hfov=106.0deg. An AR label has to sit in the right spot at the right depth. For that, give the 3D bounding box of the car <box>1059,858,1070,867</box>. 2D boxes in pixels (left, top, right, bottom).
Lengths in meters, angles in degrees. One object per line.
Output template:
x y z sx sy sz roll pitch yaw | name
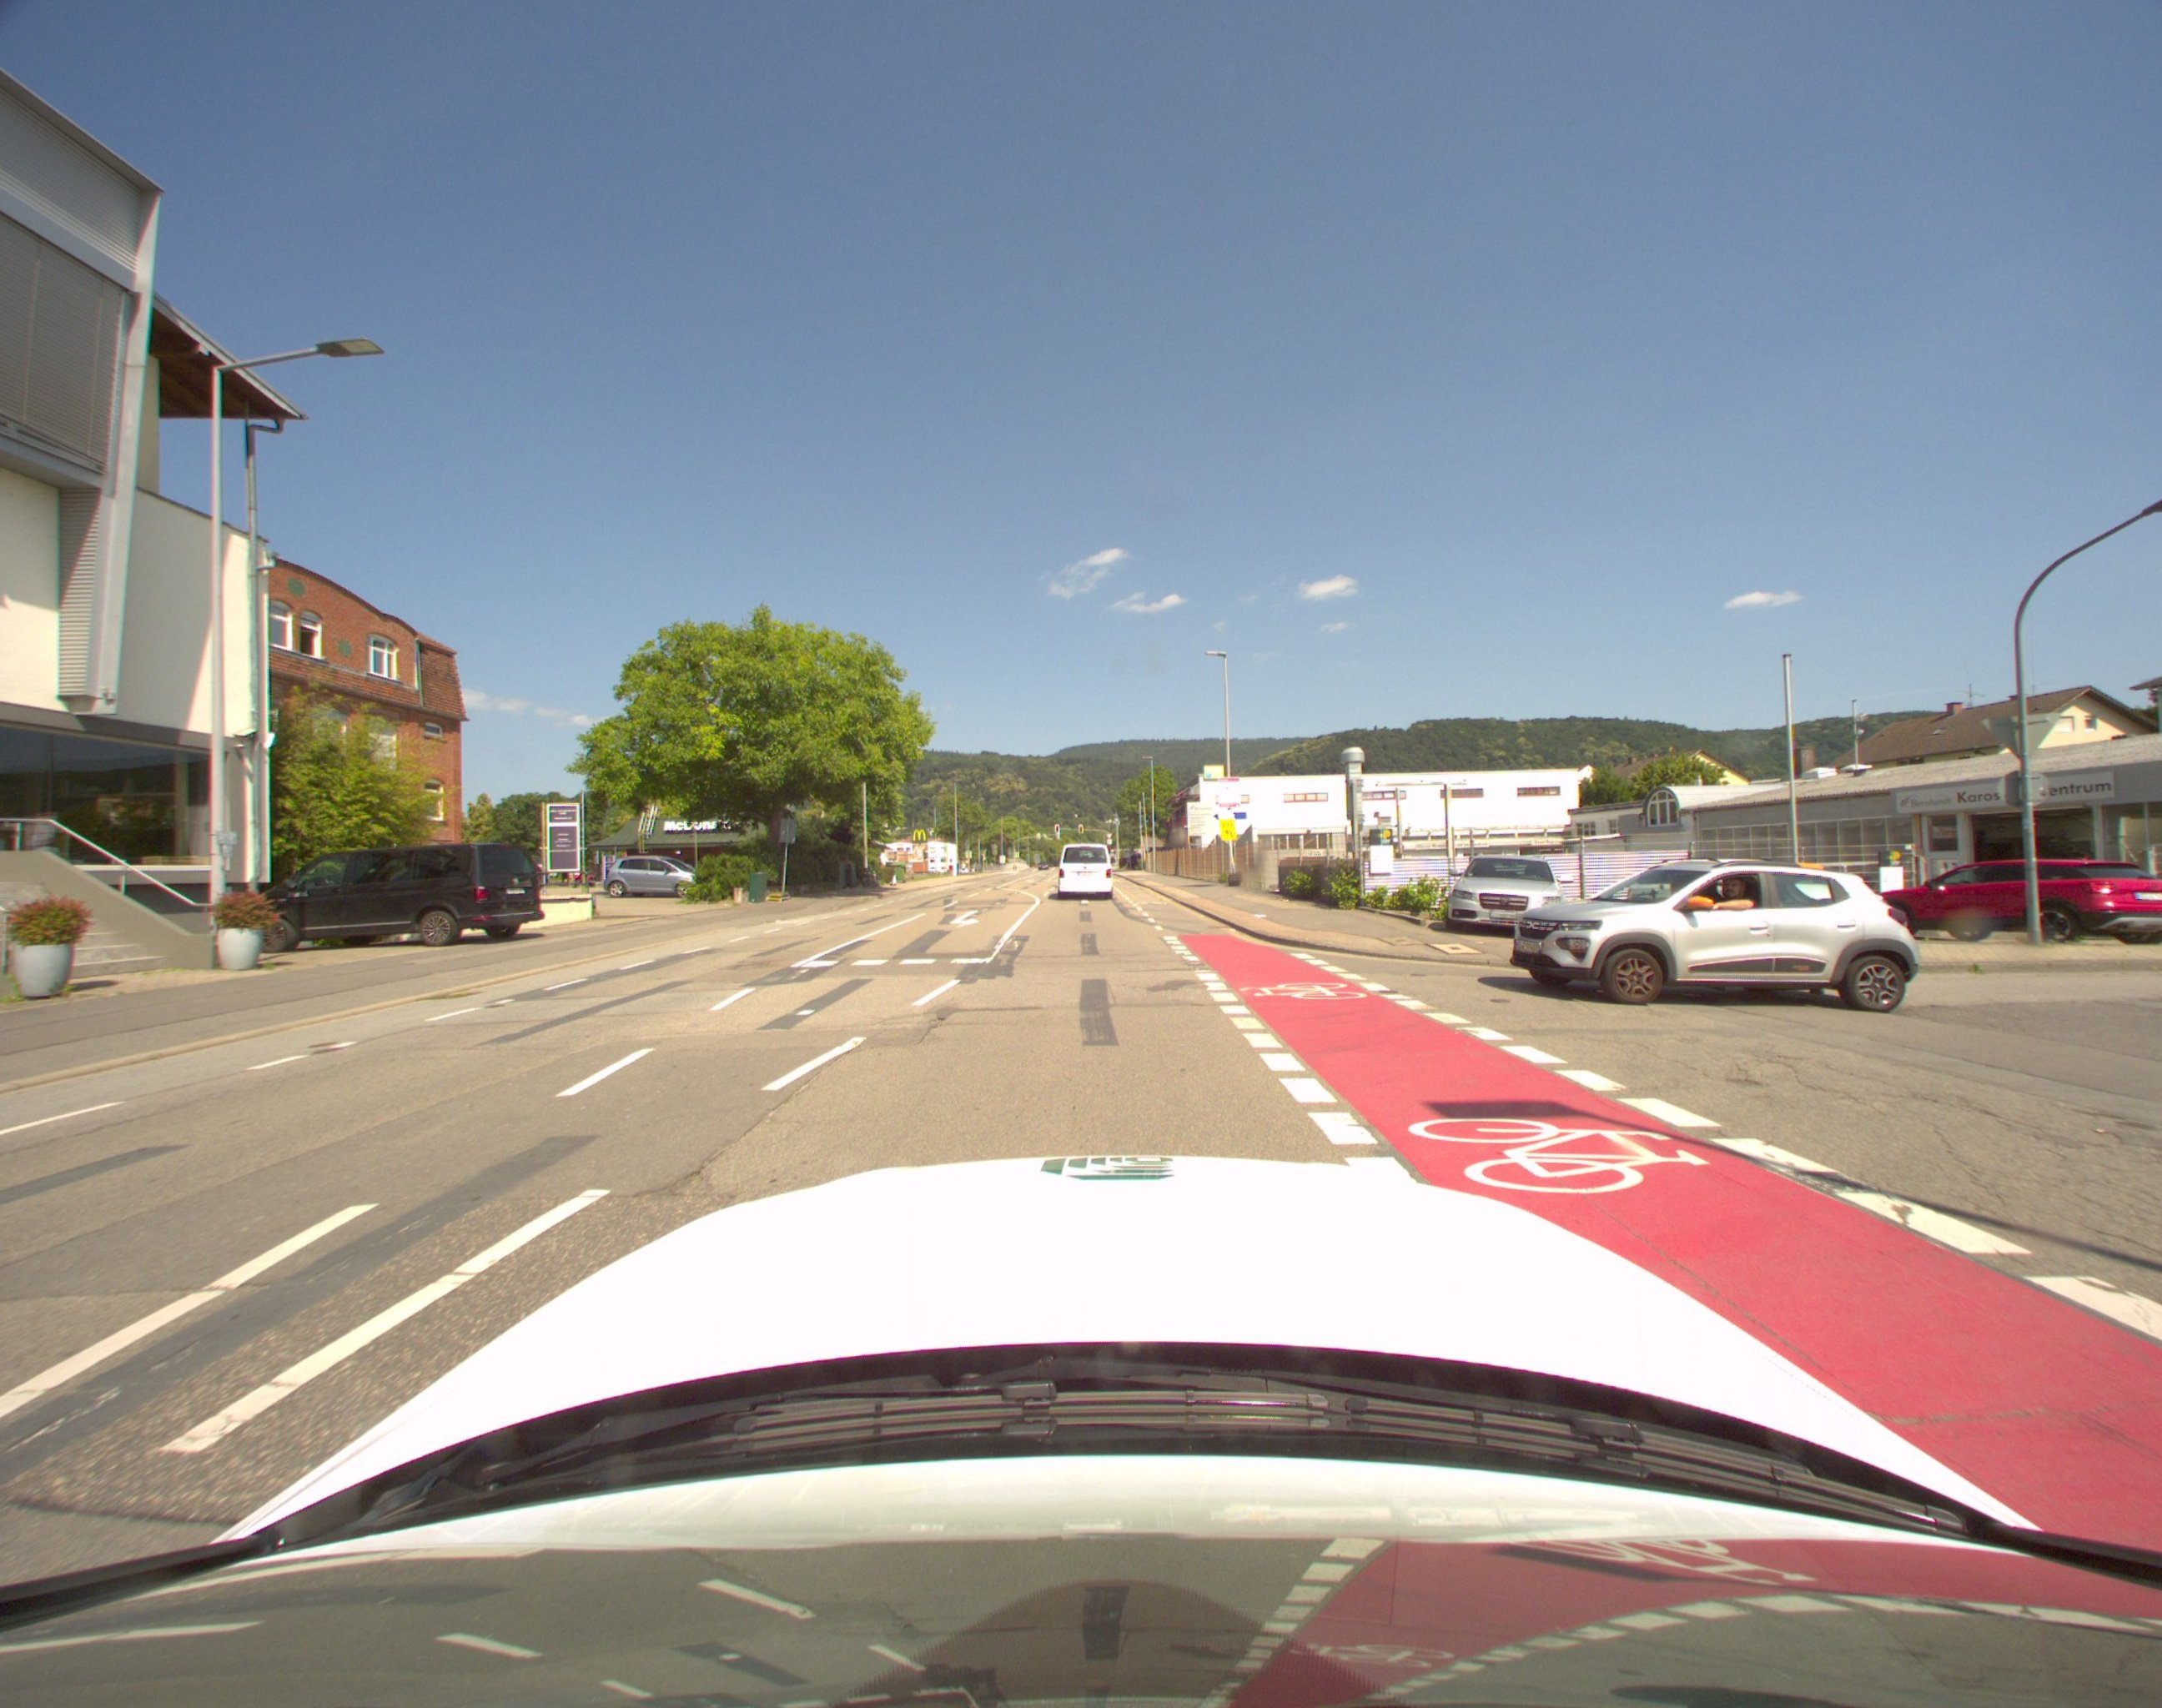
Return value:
-2.952 1.542 144.741 1.844 1.588 3.999 -2 0 0 | car

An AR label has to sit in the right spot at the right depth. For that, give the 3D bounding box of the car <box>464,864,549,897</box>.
-31.137 1.434 44.119 4.421 1.633 2.169 -3 -1 32 | car

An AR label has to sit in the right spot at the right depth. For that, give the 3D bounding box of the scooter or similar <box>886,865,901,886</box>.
-10.982 1.252 47.779 0.646 1.127 1.619 1 0 -7 | scooter or similar

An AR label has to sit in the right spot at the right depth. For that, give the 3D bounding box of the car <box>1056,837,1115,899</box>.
0.084 0.473 29.629 1.929 2.059 4.541 -1 0 -2 | car

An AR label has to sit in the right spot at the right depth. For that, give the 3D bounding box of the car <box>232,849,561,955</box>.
-13.280 0.872 16.106 4.560 1.865 2.088 -1 0 -6 | car

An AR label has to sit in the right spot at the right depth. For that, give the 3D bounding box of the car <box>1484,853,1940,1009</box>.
6.647 0.760 8.892 3.652 1.484 1.728 -1 0 0 | car

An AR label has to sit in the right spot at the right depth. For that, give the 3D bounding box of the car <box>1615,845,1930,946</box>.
12.136 0.637 14.798 1.842 1.504 4.504 -1 0 -1 | car

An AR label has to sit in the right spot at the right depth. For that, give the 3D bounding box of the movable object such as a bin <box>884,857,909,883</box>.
-12.140 1.049 53.562 1.448 1.590 1.303 -2 0 -9 | movable object such as a bin

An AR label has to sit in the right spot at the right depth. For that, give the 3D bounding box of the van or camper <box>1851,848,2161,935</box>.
17.555 0.643 15.341 1.988 1.351 4.226 4 0 -2 | van or camper

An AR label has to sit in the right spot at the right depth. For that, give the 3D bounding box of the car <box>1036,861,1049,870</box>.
-6.657 1.946 140.420 1.988 1.370 4.324 -2 0 -1 | car

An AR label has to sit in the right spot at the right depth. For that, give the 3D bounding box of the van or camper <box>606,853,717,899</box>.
-16.195 0.832 31.539 3.380 1.665 1.634 1 0 1 | van or camper

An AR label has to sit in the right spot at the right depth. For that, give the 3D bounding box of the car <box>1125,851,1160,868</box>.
7.207 0.621 94.852 3.967 1.775 2.003 -2 0 5 | car

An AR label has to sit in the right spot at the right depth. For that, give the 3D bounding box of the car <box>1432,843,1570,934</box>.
7.812 0.596 15.070 1.933 1.359 4.524 2 -1 29 | car

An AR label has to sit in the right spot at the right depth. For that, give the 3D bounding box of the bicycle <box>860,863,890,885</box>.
-11.133 1.049 44.112 1.024 1.118 2.762 1 0 -3 | bicycle
